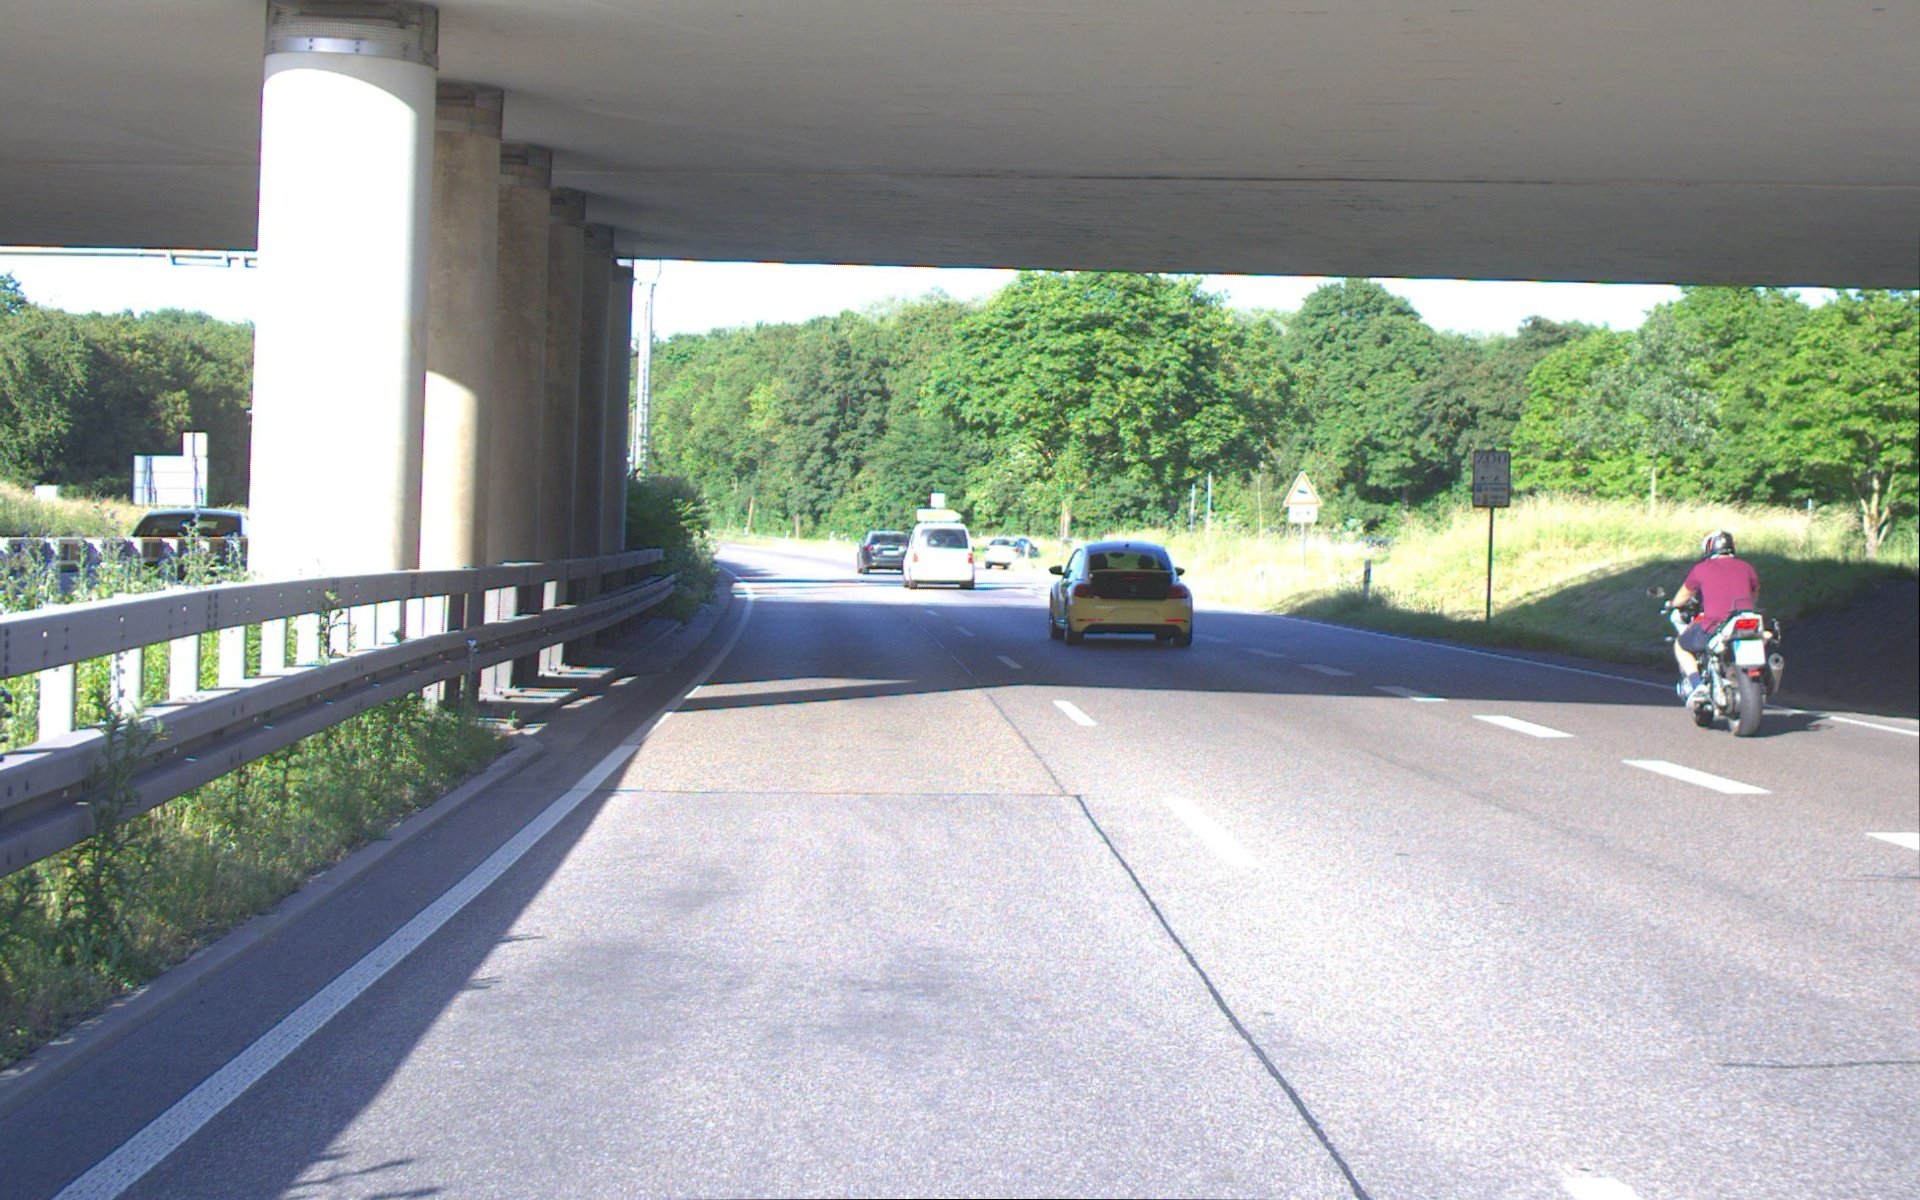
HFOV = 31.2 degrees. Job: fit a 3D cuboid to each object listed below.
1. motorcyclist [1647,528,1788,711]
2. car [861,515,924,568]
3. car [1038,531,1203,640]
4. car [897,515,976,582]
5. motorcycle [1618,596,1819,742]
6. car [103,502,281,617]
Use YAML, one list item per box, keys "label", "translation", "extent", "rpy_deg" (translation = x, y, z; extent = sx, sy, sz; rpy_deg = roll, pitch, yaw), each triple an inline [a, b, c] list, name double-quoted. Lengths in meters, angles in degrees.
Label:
- label: "motorcyclist"
  translation: [6.143, 0.147, 27.926]
  extent: [0.816, 1.442, 1.094]
  rpy_deg: [1, 1, -4]
- label: "car"
  translation: [-2.327, -2.017, 117.978]
  extent: [1.897, 1.761, 4.001]
  rpy_deg: [1, 1, -4]
- label: "car"
  translation: [2.275, -0.244, 49.775]
  extent: [1.897, 1.466, 4.001]
  rpy_deg: [1, 2, -4]
- label: "car"
  translation: [-0.651, -1.391, 92.915]
  extent: [1.897, 1.761, 4.001]
  rpy_deg: [0, 1, -4]
- label: "motorcycle"
  translation: [6.133, 0.531, 27.967]
  extent: [0.816, 1.066, 2.836]
  rpy_deg: [1, 1, -4]
- label: "car"
  translation: [-10.682, -0.584, 48.074]
  extent: [1.748, 1.500, 4.225]
  rpy_deg: [2, 1, -3]
